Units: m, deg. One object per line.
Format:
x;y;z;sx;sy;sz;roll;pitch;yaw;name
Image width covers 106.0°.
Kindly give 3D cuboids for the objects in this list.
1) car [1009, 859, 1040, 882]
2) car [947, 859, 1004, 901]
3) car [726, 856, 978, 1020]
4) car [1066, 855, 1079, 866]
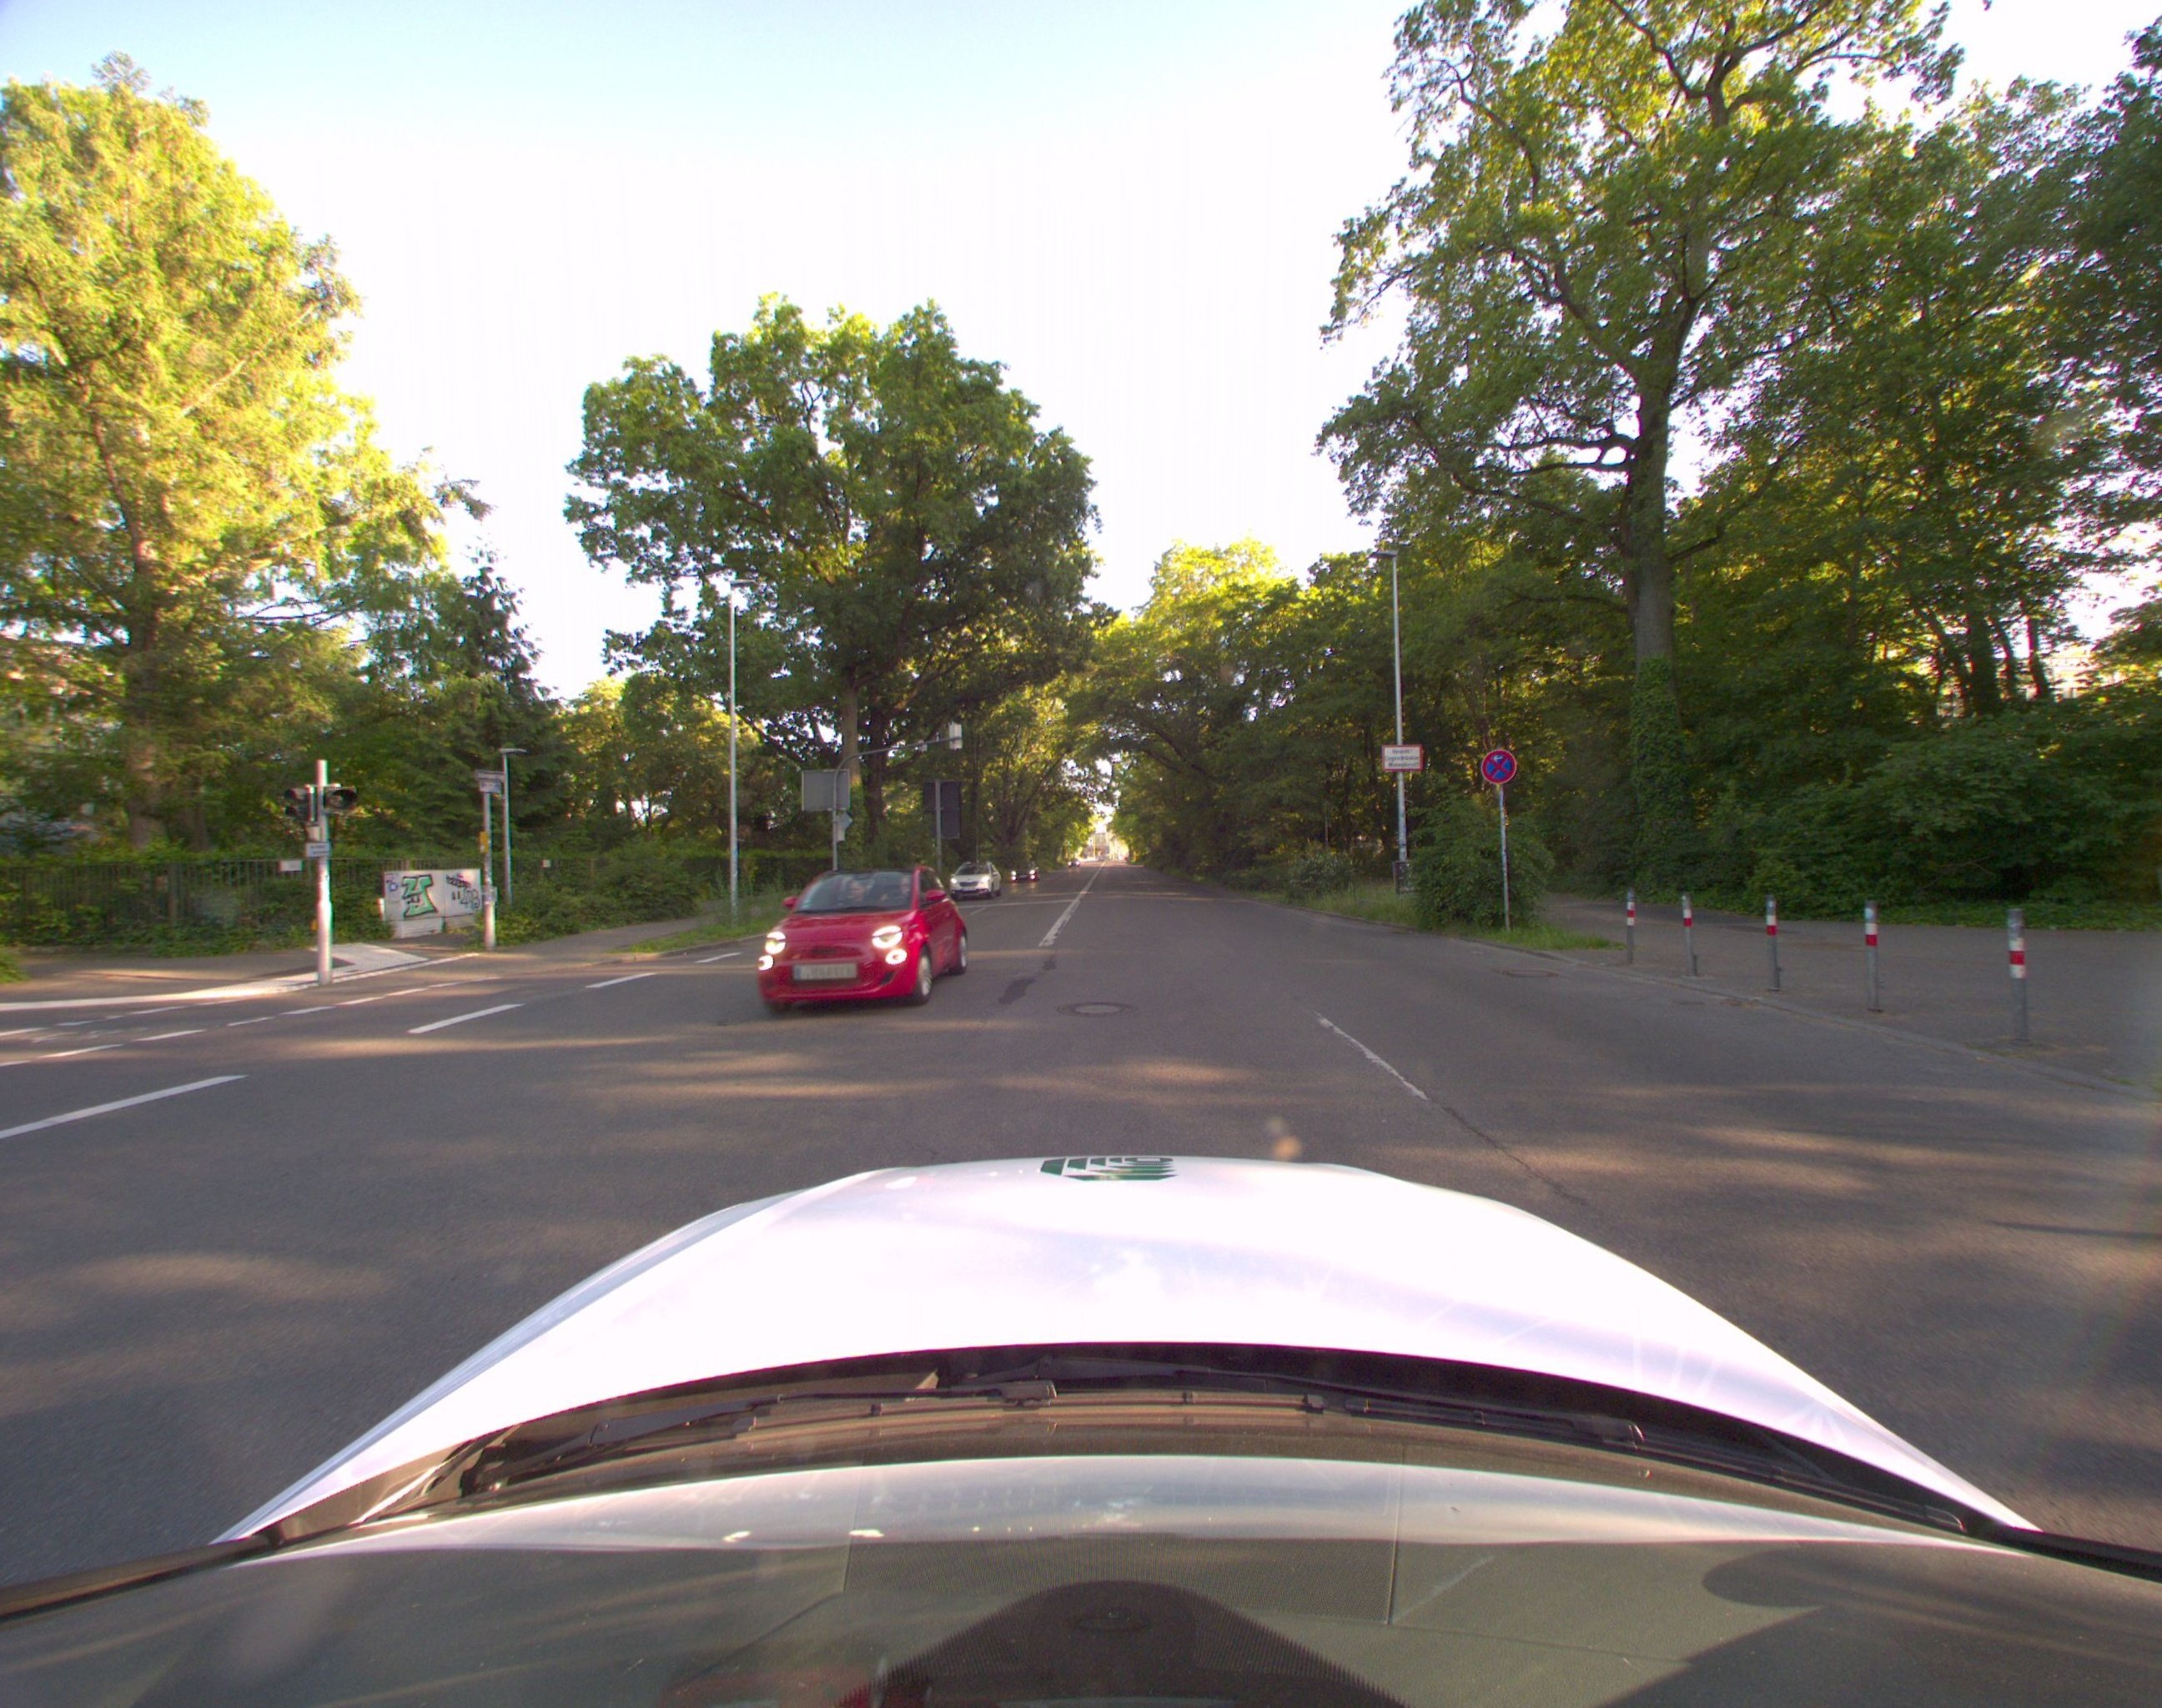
-3.967;1.155;57.386;1.701;1.453;3.641;-4;0;2;car
-4.324;1.045;33.987;1.671;1.523;3.903;-4;0;2;car
-2.422;0.831;9.584;1.744;1.456;3.641;-4;-1;2;car
-1.292;1.028;128.833;1.800;1.580;4.321;-4;0;2;car
